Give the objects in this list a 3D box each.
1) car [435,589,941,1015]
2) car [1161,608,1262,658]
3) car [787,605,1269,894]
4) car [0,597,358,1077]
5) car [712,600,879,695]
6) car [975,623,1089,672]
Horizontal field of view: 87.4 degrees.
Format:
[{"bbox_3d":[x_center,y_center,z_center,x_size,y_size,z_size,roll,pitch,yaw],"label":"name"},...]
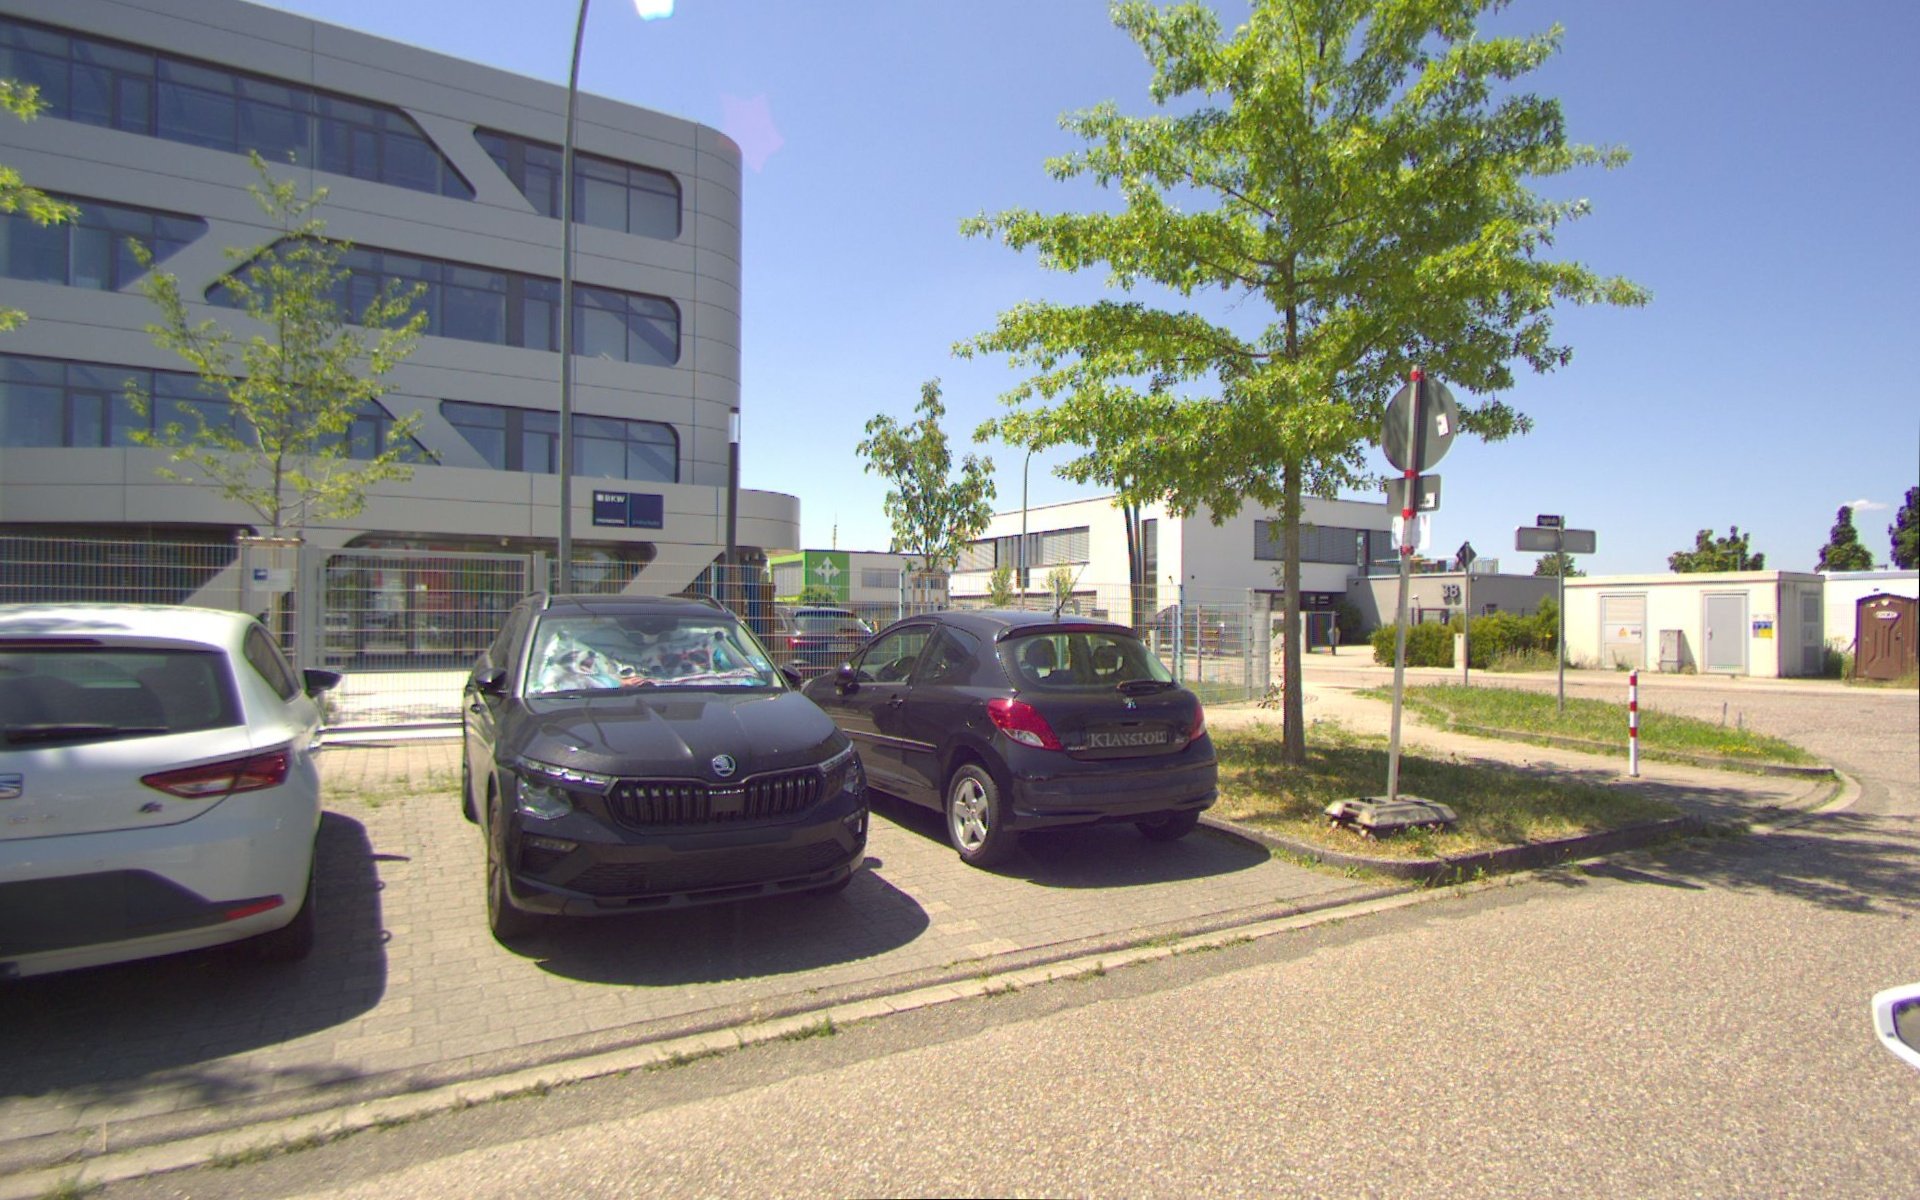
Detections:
[{"bbox_3d":[-1.878,0.745,5.839,1.765,1.541,3.905,1,0,-32],"label":"car"},{"bbox_3d":[10.757,1.414,43.219,1.979,2.040,3.964,1,-2,-33],"label":"car"},{"bbox_3d":[0.239,0.820,7.333,1.707,1.455,3.605,1,0,-32],"label":"car"},{"bbox_3d":[-4.098,0.751,4.884,1.854,1.443,4.051,1,0,-33],"label":"car"},{"bbox_3d":[-2.857,0.782,16.911,1.658,1.409,3.463,1,-2,-30],"label":"car"},{"bbox_3d":[2.463,1.656,35.144,1.979,1.560,3.964,4,-3,-33],"label":"car"}]
